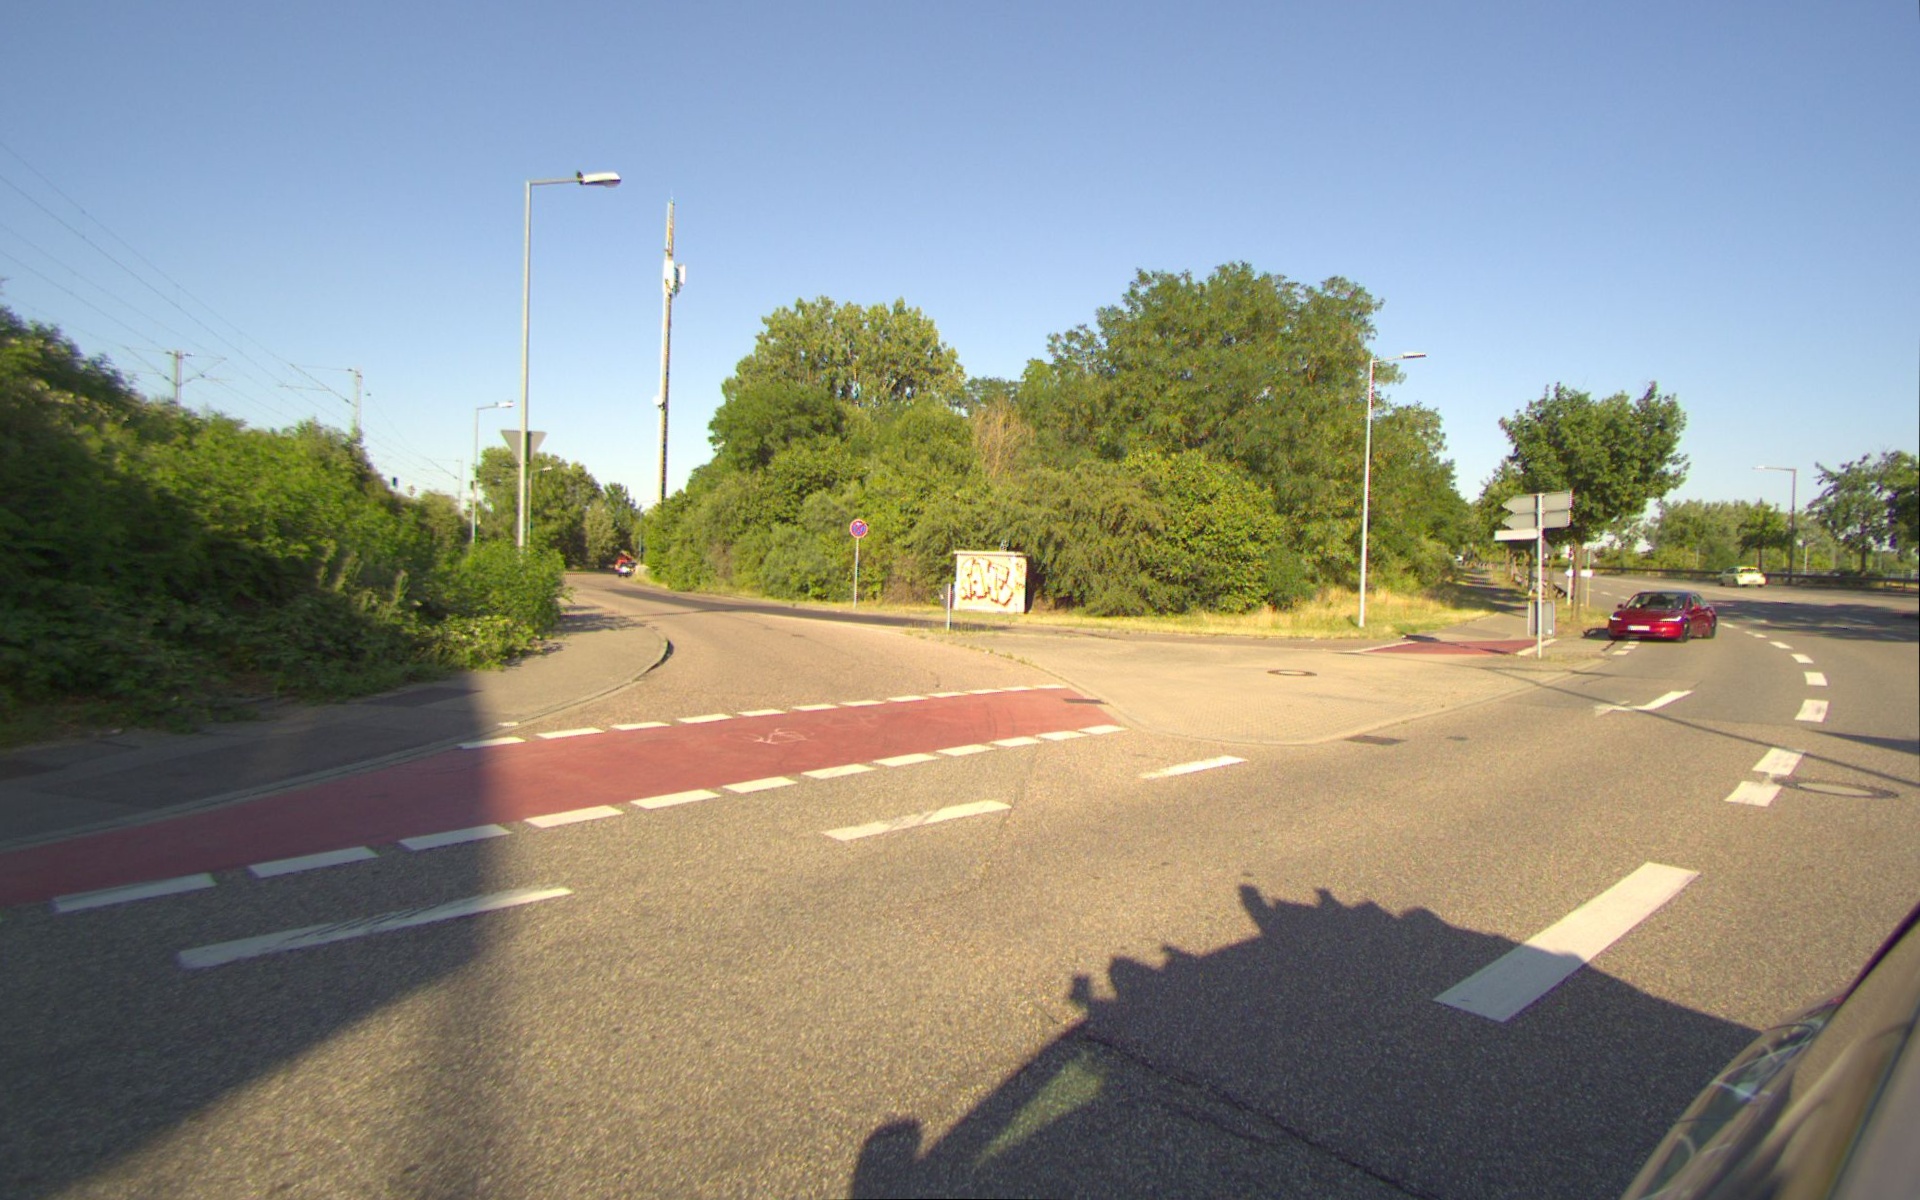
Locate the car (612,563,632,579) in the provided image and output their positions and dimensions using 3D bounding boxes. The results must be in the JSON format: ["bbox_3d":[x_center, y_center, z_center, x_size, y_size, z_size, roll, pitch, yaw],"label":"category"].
[{"bbox_3d":[-30.965,-2.681,92.721,1.618,1.465,3.648,0,2,-17],"label":"car"}]

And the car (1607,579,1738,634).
[{"bbox_3d":[20.642,0.183,29.265,4.277,1.460,1.782,0,-1,-36],"label":"car"}]

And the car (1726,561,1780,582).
[{"bbox_3d":[56.516,-2.025,72.190,1.721,1.480,3.749,0,2,15],"label":"car"}]
